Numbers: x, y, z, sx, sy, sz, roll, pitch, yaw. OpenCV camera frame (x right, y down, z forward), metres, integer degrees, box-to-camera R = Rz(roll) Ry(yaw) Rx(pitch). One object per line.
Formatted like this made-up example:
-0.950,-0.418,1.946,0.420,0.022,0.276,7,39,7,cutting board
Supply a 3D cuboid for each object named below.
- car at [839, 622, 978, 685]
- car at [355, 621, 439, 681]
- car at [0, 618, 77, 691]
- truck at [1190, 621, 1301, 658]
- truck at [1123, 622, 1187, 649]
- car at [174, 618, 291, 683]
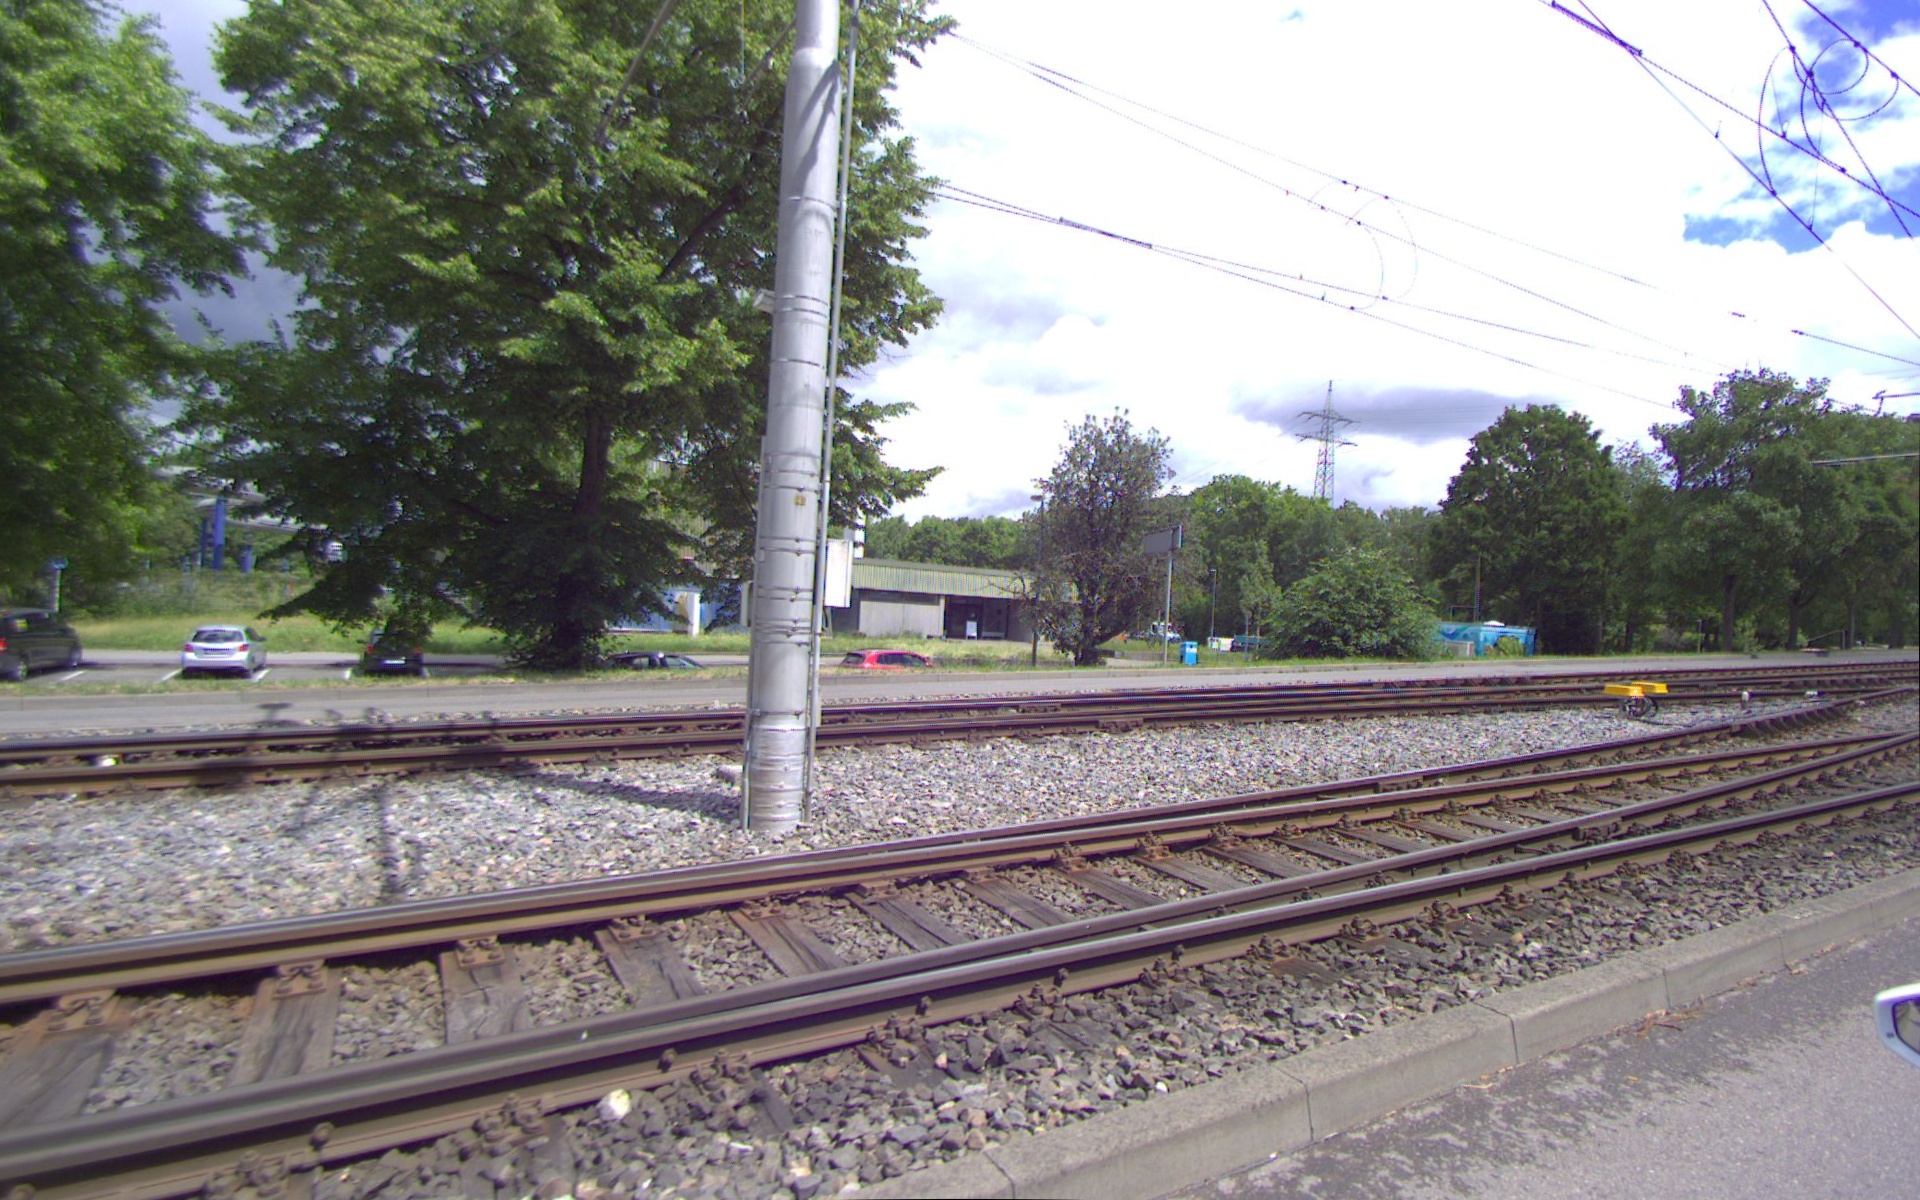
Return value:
-1.574,1.615,31.218,3.955,1.795,1.806,1,0,-32,car
-18.290,1.628,32.808,1.832,1.620,3.979,2,1,-22,car
-25.782,1.414,26.968,1.922,1.659,3.590,2,1,-20,car
21.904,2.976,77.676,2.585,2.731,9.047,1,-2,-30,truck
16.856,3.038,87.025,1.979,2.207,5.795,1,-2,-33,truck
-22.119,1.500,30.719,1.831,1.620,3.980,2,1,-20,car
